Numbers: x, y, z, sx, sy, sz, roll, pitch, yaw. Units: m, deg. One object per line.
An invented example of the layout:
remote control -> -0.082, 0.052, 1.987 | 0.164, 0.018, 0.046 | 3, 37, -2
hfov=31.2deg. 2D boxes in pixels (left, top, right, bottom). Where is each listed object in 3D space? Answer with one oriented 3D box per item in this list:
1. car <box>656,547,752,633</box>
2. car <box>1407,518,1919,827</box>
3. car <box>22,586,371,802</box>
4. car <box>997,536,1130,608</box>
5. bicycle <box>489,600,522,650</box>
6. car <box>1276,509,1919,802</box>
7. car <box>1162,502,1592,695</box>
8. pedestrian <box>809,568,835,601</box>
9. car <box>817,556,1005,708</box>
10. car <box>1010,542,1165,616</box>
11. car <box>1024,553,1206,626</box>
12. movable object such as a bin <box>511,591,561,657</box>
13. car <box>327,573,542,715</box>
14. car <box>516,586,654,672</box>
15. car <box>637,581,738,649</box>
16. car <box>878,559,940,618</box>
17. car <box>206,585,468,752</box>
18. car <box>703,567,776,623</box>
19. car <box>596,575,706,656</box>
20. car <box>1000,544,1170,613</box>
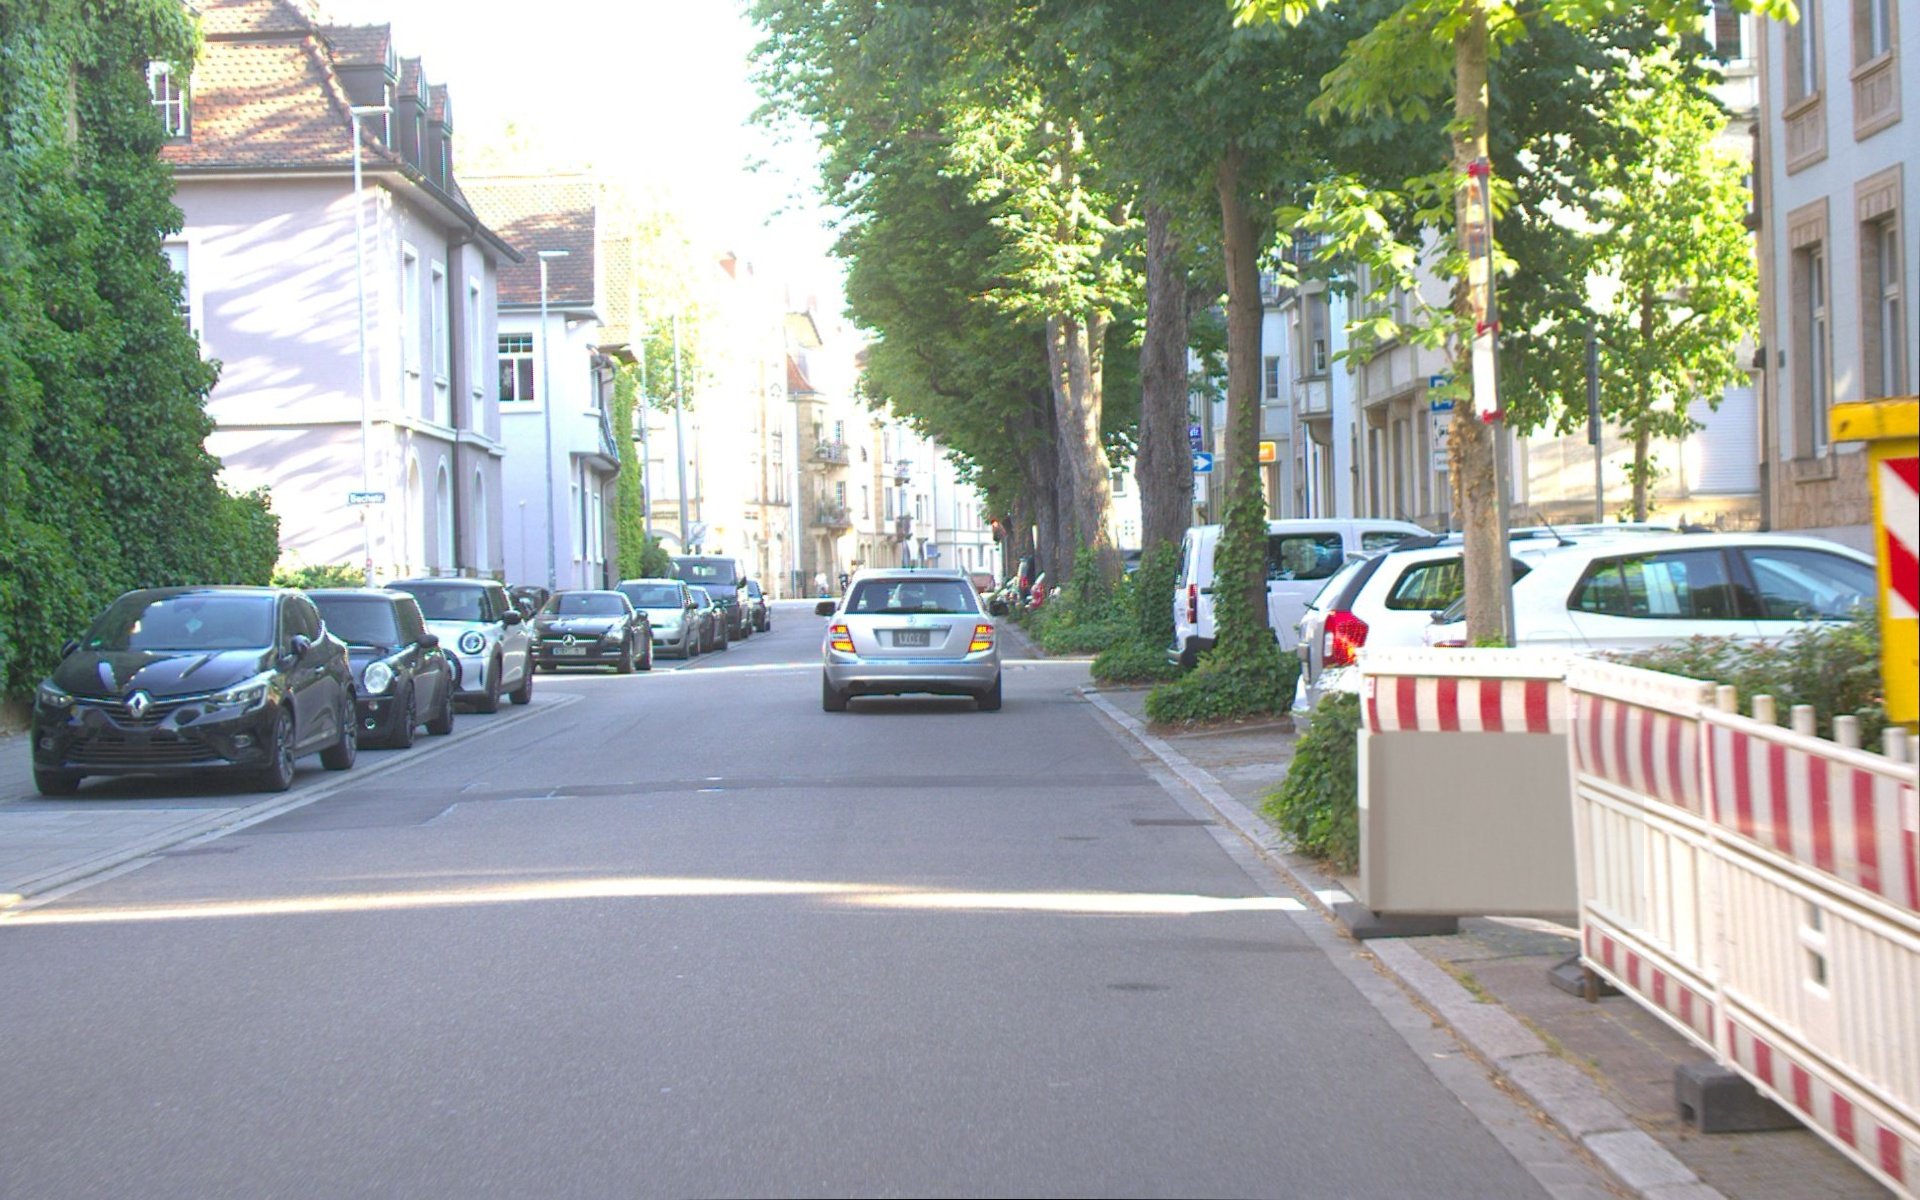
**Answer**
car -> -5.965, -0.262, 80.642 | 1.982, 1.941, 4.851 | 0, 1, -1
car -> 4.429, 0.333, 18.543 | 3.852, 1.457, 1.686 | -3, 1, 5
car -> -5.488, 0.625, 25.184 | 1.649, 1.416, 4.099 | 0, 1, 0
car -> 3.536, -0.960, 118.432 | 4.388, 2.356, 2.000 | -1, 1, -2
bicycle -> -8.879, 0.478, 67.169 | 0.394, 0.934, 1.722 | -2, 1, 0
car -> 4.102, 0.306, 21.052 | 4.144, 1.529, 1.687 | -3, 1, 2
car -> 4.454, -0.033, 37.218 | 4.314, 1.801, 2.000 | -3, 1, 0
pedestrian -> -7.302, -0.816, 181.552 | 1.221, 1.716, 1.503 | 0, 0, 3
car -> -0.458, 0.308, 34.711 | 1.784, 1.432, 3.851 | -1, 0, 0
car -> 3.632, -0.612, 98.387 | 4.219, 1.890, 1.906 | -3, 0, -2
car -> 3.686, -0.259, 81.793 | 4.190, 1.470, 1.851 | -3, 0, 2
movable object such as a bin -> -8.550, 0.479, 69.326 | 0.721, 1.279, 2.096 | -1, 1, 0
car -> -5.721, 0.441, 37.840 | 1.704, 1.455, 3.917 | 0, 1, 1
car -> -5.986, 0.445, 55.239 | 1.653, 1.319, 4.045 | 0, 0, 2
car -> -5.470, 0.282, 69.441 | 1.531, 1.314, 4.226 | -1, 0, 2
car -> -1.417, -0.328, 96.107 | 1.623, 1.564, 3.680 | -1, 1, 0
car -> -5.544, 0.570, 30.964 | 1.686, 1.375, 3.721 | 0, 1, 0
car -> -5.861, -0.162, 91.730 | 1.695, 1.442, 4.358 | 0, 1, 0
car -> -5.727, 0.263, 64.063 | 1.653, 1.440, 3.960 | 0, 1, 0
car -> 3.819, -0.657, 105.648 | 5.053, 1.982, 2.072 | -1, 1, -2
